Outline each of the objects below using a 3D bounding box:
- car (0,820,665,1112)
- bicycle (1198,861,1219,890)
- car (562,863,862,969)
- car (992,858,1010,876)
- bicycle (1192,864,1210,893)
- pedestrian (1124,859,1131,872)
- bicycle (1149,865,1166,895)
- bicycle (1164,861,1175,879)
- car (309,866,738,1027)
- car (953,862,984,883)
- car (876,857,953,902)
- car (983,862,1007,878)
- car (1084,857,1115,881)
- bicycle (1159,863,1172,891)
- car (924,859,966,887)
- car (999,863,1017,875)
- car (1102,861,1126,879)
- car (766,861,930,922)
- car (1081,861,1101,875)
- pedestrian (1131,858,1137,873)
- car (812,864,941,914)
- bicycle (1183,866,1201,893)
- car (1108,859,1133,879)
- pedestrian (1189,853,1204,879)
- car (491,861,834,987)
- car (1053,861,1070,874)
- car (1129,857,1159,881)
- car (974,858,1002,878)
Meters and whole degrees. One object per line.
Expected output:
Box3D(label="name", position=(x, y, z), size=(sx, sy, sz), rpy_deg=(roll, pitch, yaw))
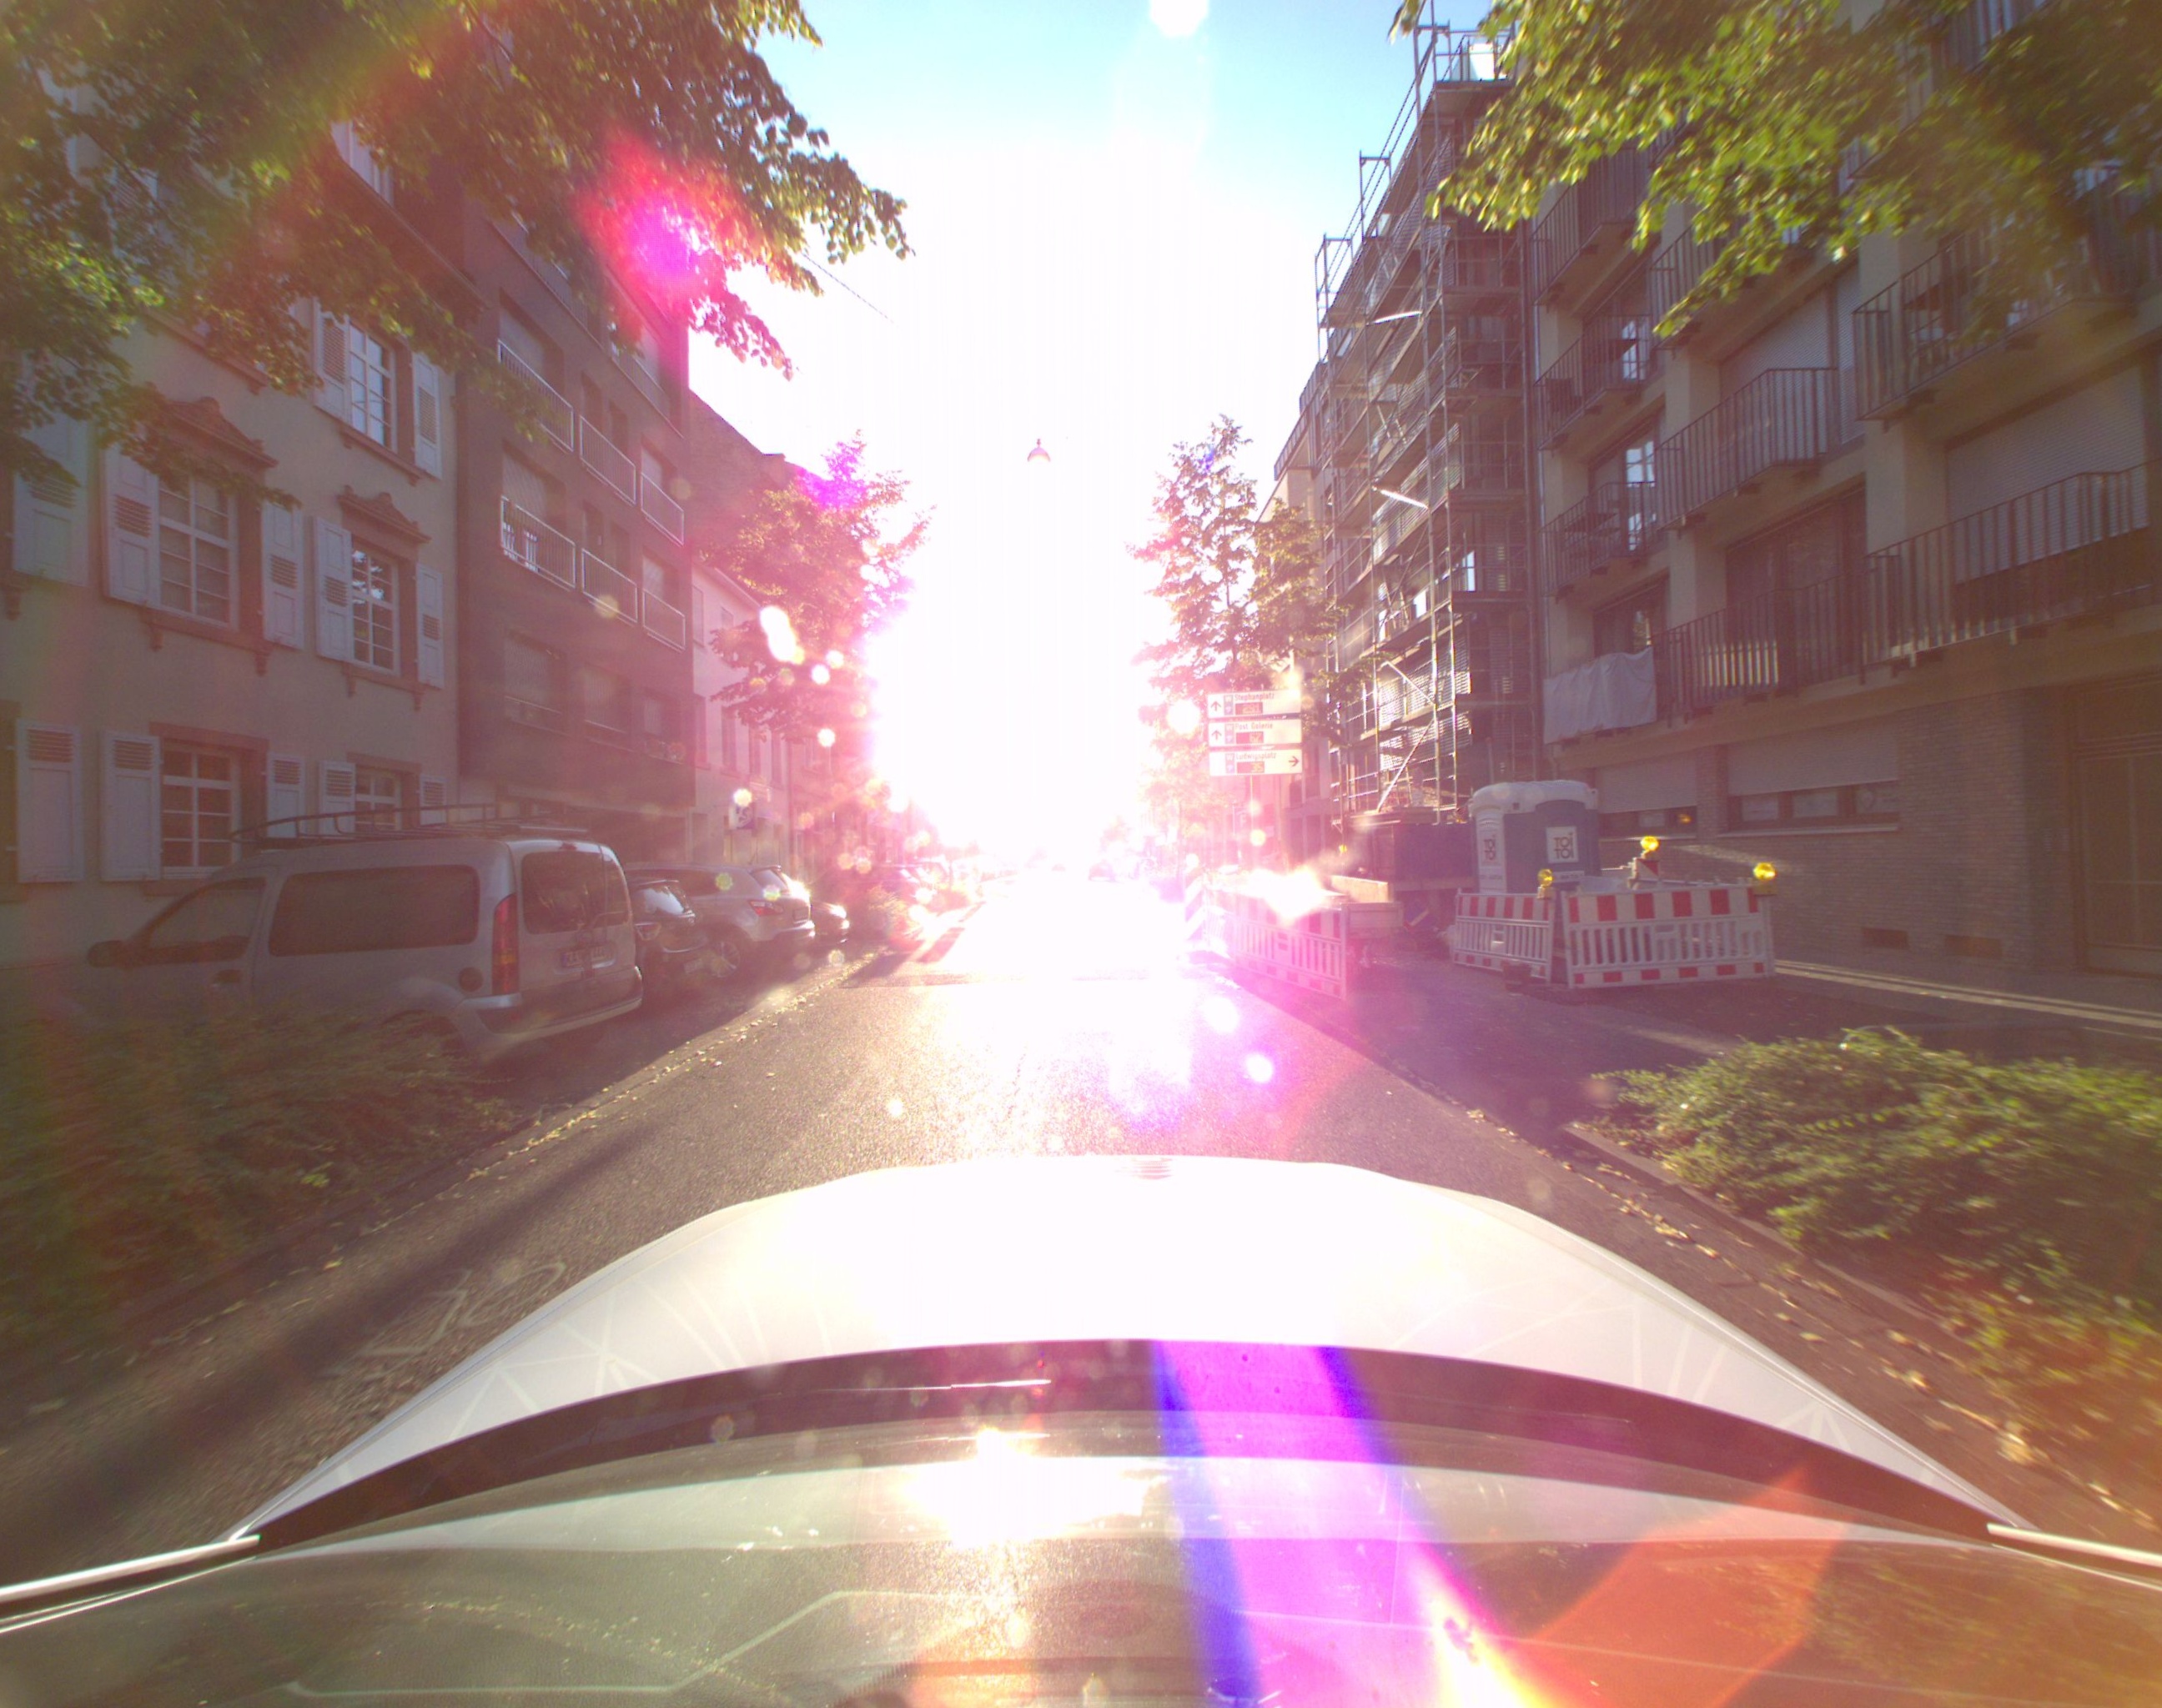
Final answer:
Box3D(label="car", position=(-5.574, 0.762, 6.286), size=(3.796, 1.849, 1.701), rpy_deg=(-2, -1, 2))
Box3D(label="bicycle", position=(5.113, 0.853, 32.789), size=(0.381, 1.100, 1.519), rpy_deg=(-2, 0, -8))
Box3D(label="car", position=(-6.023, 0.979, 13.720), size=(4.201, 1.516, 1.759), rpy_deg=(-2, -1, -5))
Box3D(label="car", position=(-8.635, 1.435, 87.840), size=(1.830, 1.854, 4.117), rpy_deg=(-1, -1, -5))
Box3D(label="bicycle", position=(5.043, 1.022, 34.321), size=(0.381, 1.189, 1.520), rpy_deg=(-1, -1, -5))
Box3D(label="pedestrian", position=(5.663, 1.362, 99.499), size=(0.686, 1.559, 0.862), rpy_deg=(-2, -1, -1))
Box3D(label="bicycle", position=(3.004, 1.011, 32.063), size=(0.381, 1.100, 1.521), rpy_deg=(-2, 0, -4))
Box3D(label="bicycle", position=(6.020, 1.084, 55.351), size=(0.396, 1.234, 1.823), rpy_deg=(-2, 0, -4))
Box3D(label="car", position=(-6.021, 0.961, 9.064), size=(3.634, 1.515, 1.650), rpy_deg=(-2, 0, 3))
Box3D(label="car", position=(-8.256, 1.342, 59.945), size=(1.708, 1.440, 4.307), rpy_deg=(-3, 0, -1))
Box3D(label="car", position=(-6.442, 0.979, 31.767), size=(2.690, 1.520, 1.569), rpy_deg=(-3, 1, -5))
Box3D(label="car", position=(-8.294, 1.513, 78.474), size=(1.822, 1.439, 4.550), rpy_deg=(-4, -1, -1))
Box3D(label="car", position=(1.271, 1.028, 57.305), size=(1.989, 1.655, 4.671), rpy_deg=(0, -1, -1))
Box3D(label="bicycle", position=(3.573, 0.954, 34.454), size=(0.368, 1.108, 1.527), rpy_deg=(-2, 0, 10))
Box3D(label="car", position=(-7.822, 1.069, 47.220), size=(1.768, 1.515, 3.948), rpy_deg=(-1, 0, -1))
Box3D(label="car", position=(-8.396, 1.693, 94.064), size=(1.828, 1.328, 4.120), rpy_deg=(-2, 0, -2))
Box3D(label="car", position=(2.817, 1.381, 70.115), size=(1.698, 1.436, 3.930), rpy_deg=(-4, -1, -1))
Box3D(label="car", position=(-6.231, 0.979, 22.076), size=(3.882, 1.517, 1.856), rpy_deg=(-1, 0, -1))
Box3D(label="car", position=(0.999, 1.382, 81.857), size=(1.916, 1.415, 4.545), rpy_deg=(1, -1, -1))
Box3D(label="pedestrian", position=(6.427, 1.404, 99.273), size=(0.685, 1.721, 0.717), rpy_deg=(-2, -1, 4))
Box3D(label="car", position=(-6.070, 1.033, 24.460), size=(3.385, 1.392, 1.687), rpy_deg=(-1, 0, 0))
Box3D(label="bicycle", position=(4.640, 1.046, 34.128), size=(0.381, 1.100, 1.520), rpy_deg=(-1, -1, -4))
Box3D(label="car", position=(3.025, 1.147, 63.239), size=(1.629, 1.424, 3.754), rpy_deg=(-2, -1, -2))
Box3D(label="pedestrian", position=(7.575, 0.776, 53.563), size=(0.808, 1.646, 0.605), rpy_deg=(-3, -2, -2))
Box3D(label="car", position=(-5.596, 0.906, 11.247), size=(3.811, 1.585, 1.742), rpy_deg=(-1, -1, 1))
Box3D(label="car", position=(-2.210, 1.528, 94.333), size=(1.878, 1.415, 4.323), rpy_deg=(-1, -1, -1))
Box3D(label="car", position=(4.320, 1.024, 56.229), size=(1.629, 1.553, 2.690), rpy_deg=(-2, 0, -4))
Box3D(label="car", position=(-8.239, 1.220, 72.514), size=(1.822, 1.556, 5.134), rpy_deg=(-3, 0, -1))
